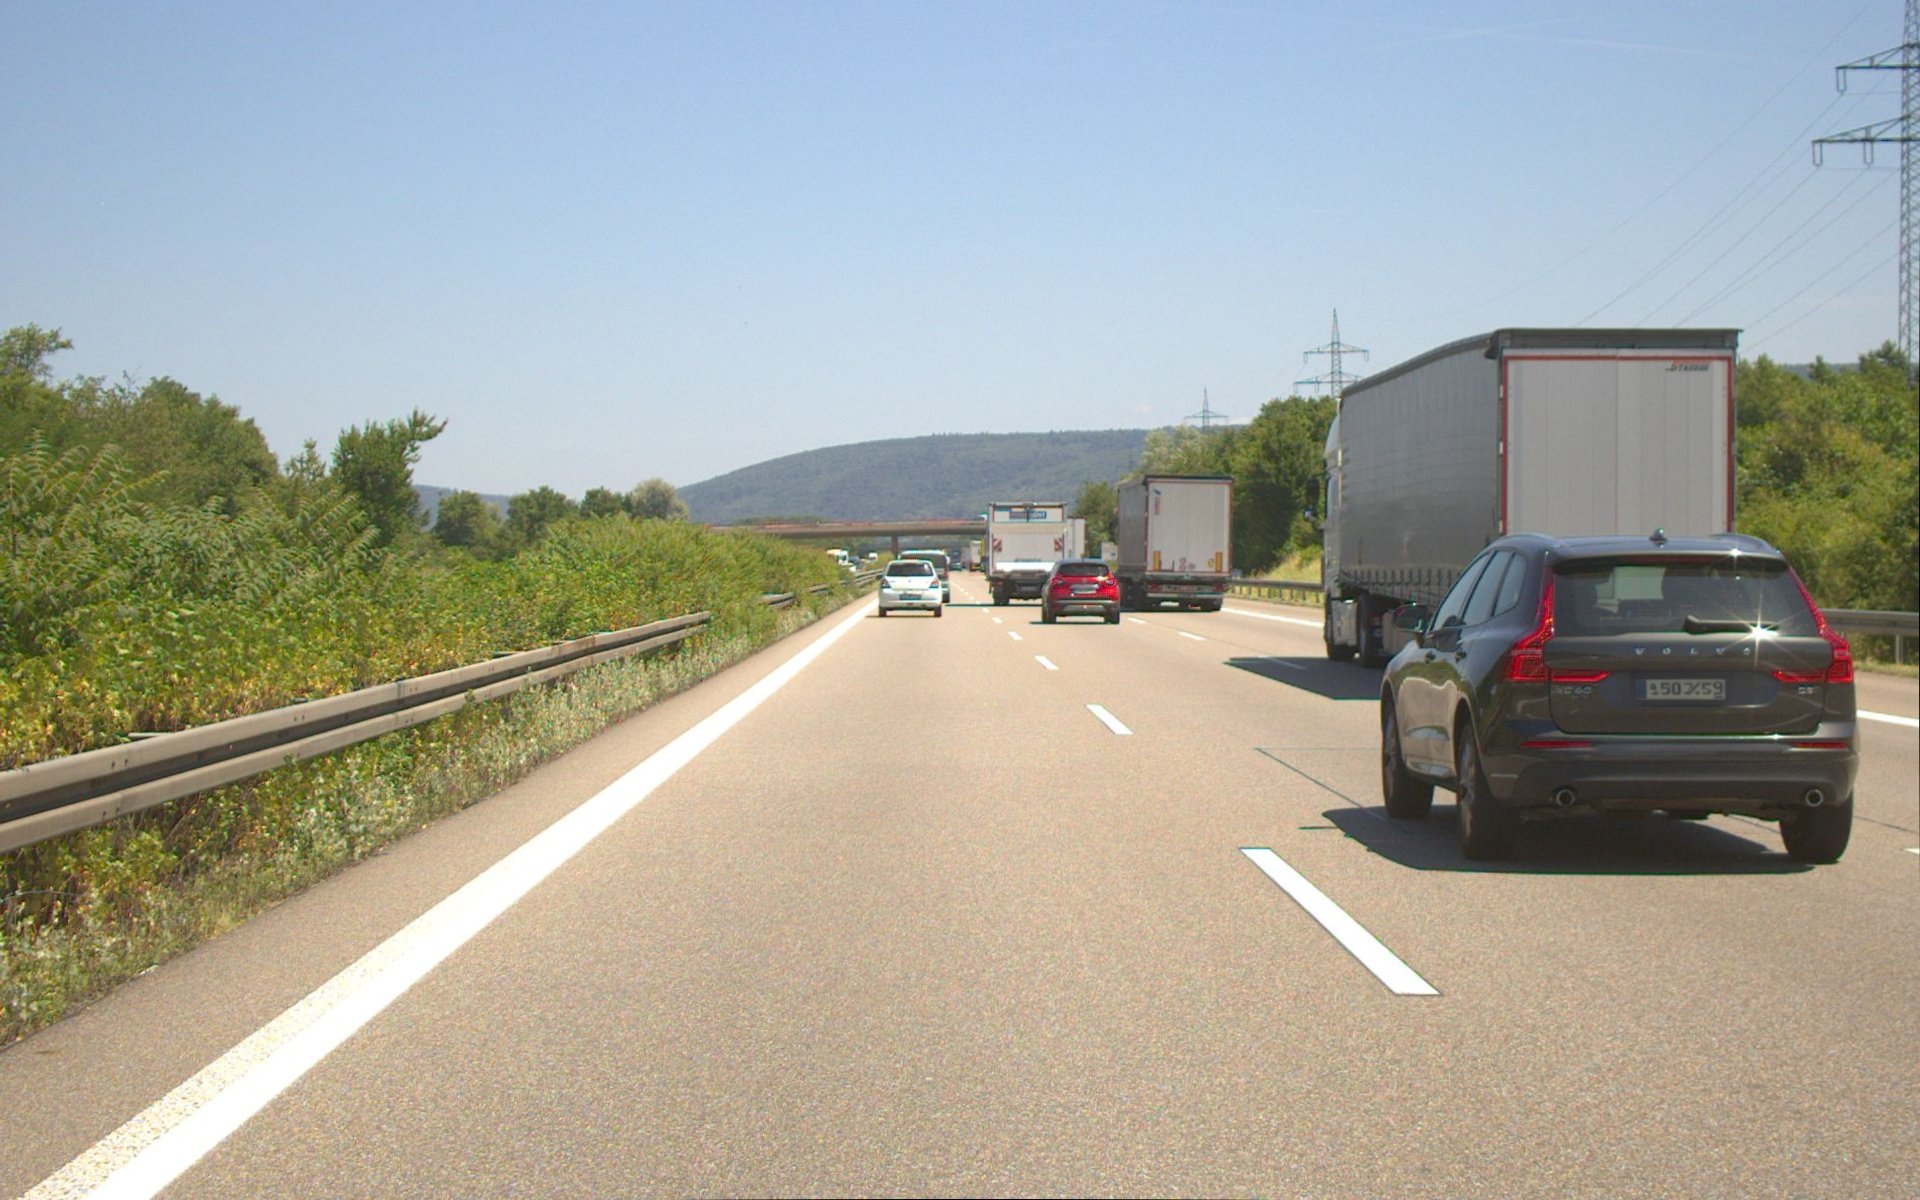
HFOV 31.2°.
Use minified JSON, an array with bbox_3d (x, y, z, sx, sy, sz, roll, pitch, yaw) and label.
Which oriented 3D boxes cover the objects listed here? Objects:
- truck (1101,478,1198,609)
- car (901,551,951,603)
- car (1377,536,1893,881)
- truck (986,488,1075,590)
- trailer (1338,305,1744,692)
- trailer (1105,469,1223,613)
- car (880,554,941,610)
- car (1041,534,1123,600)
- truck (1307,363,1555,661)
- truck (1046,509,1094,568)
[{"bbox_3d":[6.207,-1.857,113.473,2.795,4.149,5.722,-1,1,0],"label":"truck"},{"bbox_3d":[-1.238,-0.836,123.159,1.760,1.844,4.000,0,1,-1],"label":"car"},{"bbox_3d":[3.408,0.481,18.132,1.873,1.618,4.004,0,1,-1],"label":"car"},{"bbox_3d":[2.346,-2.035,117.388,2.782,3.361,8.128,0,0,-1],"label":"truck"},{"bbox_3d":[6.884,-1.151,43.042,2.736,4.092,13.123,0,1,-1],"label":"trailer"},{"bbox_3d":[6.227,-1.782,106.902,2.789,4.149,13.574,-1,1,0],"label":"trailer"},{"bbox_3d":[-1.332,-0.496,92.240,1.607,1.463,4.000,0,1,-1],"label":"car"},{"bbox_3d":[2.927,-0.795,83.013,1.803,1.540,4.000,0,1,0],"label":"car"},{"bbox_3d":[6.807,-1.248,50.525,2.736,4.105,6.125,0,1,-1],"label":"truck"},{"bbox_3d":[6.173,-3.469,194.117,2.221,3.198,10.385,-1,1,0],"label":"truck"}]
